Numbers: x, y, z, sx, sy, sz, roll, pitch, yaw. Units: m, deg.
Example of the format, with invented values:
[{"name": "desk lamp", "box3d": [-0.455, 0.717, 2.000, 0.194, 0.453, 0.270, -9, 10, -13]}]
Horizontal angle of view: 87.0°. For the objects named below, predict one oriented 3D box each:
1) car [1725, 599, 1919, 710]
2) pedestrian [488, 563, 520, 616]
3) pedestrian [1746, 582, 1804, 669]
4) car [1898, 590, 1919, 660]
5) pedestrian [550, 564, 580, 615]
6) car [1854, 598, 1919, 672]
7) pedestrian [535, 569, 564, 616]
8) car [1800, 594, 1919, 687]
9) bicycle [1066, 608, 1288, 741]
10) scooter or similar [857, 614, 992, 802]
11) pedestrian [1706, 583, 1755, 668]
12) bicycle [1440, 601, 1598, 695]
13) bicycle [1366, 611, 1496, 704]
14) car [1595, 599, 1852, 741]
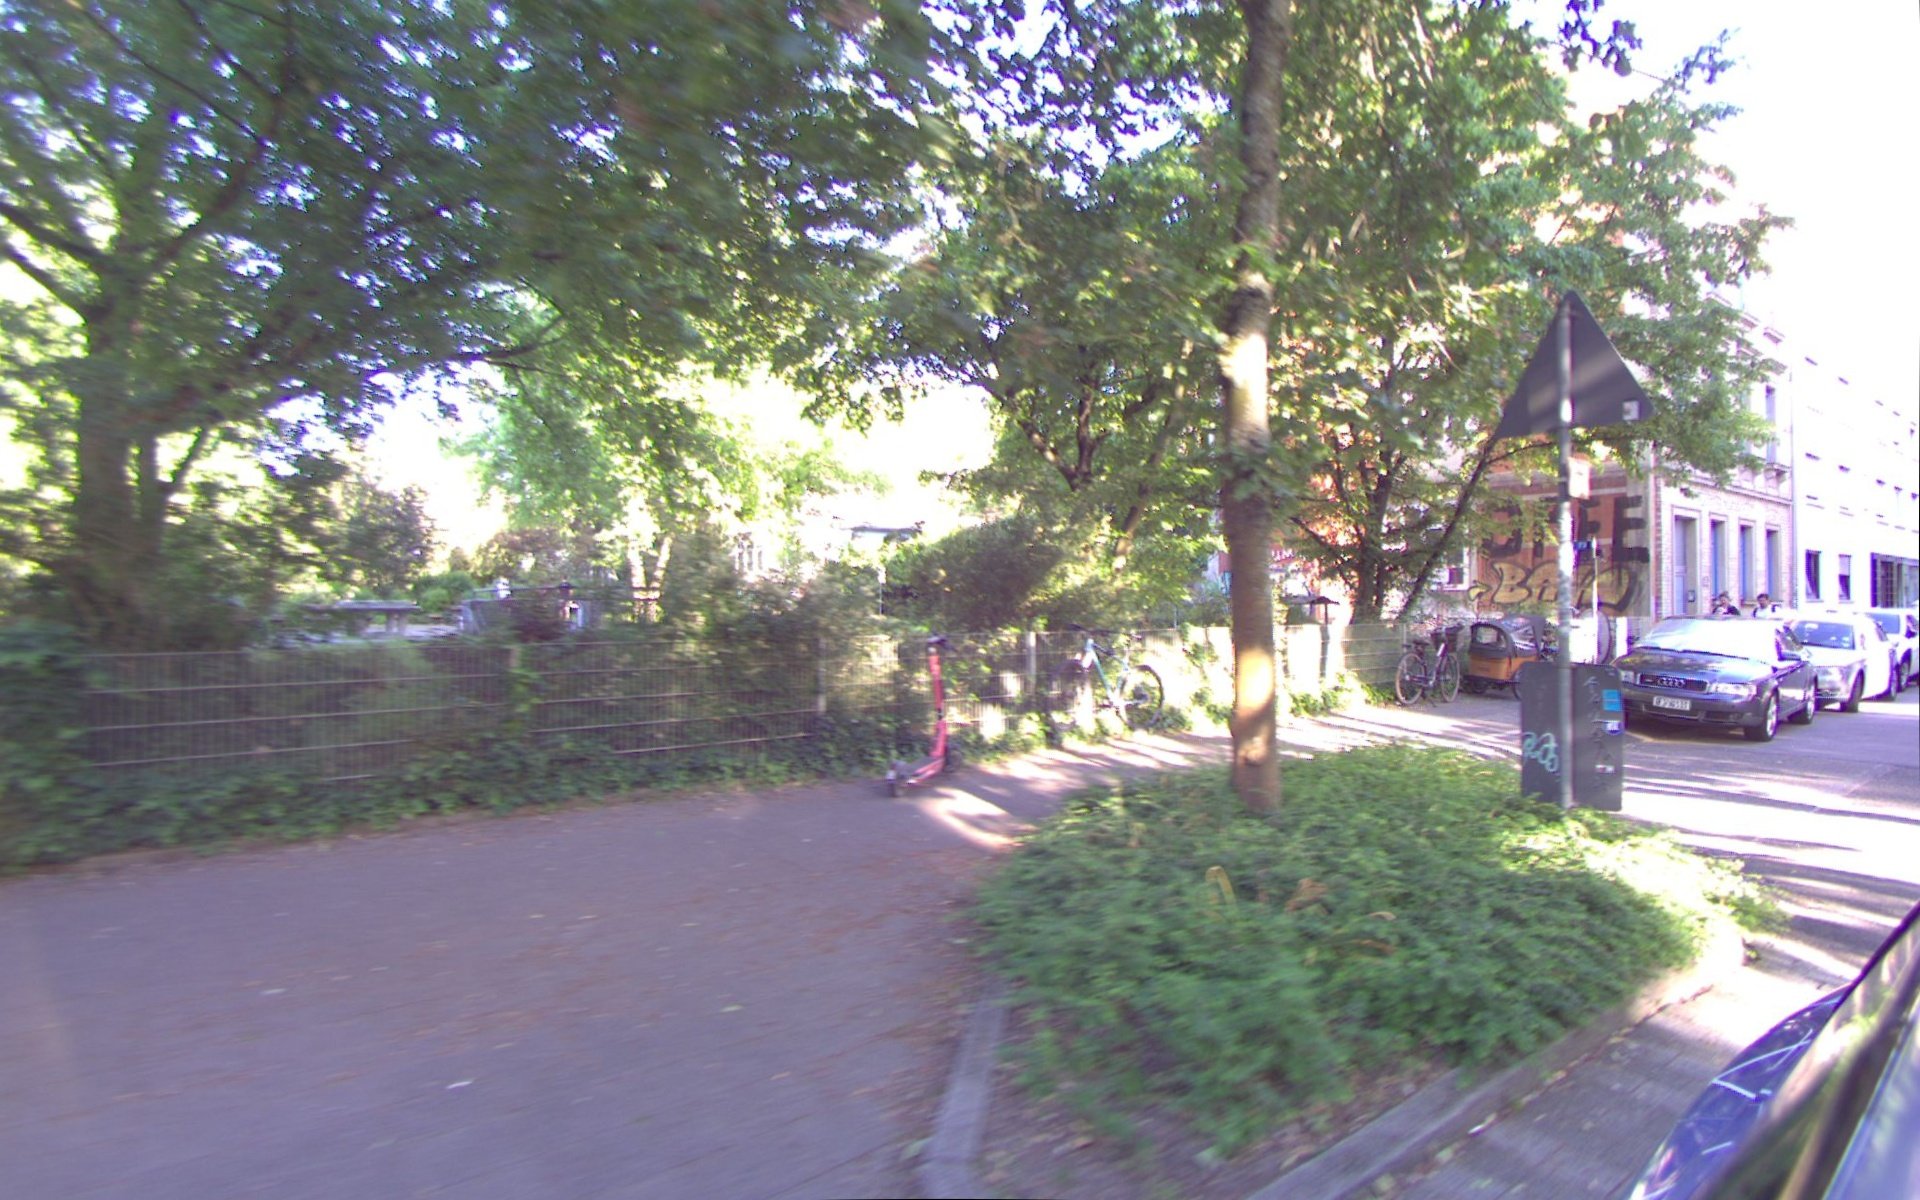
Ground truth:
[{"name": "car", "box3d": [14.130, 0.778, 16.439, 4.274, 1.512, 1.664, 0, 2, -38]}, {"name": "pedestrian", "box3d": [-17.699, -0.423, 39.284, 0.897, 2.039, 0.747, 1, 0, 9]}, {"name": "pedestrian", "box3d": [16.899, 0.517, 20.982, 0.738, 1.729, 0.712, 0, 3, -38]}, {"name": "car", "box3d": [25.020, 0.617, 25.152, 4.247, 1.687, 1.771, 0, 1, -37]}, {"name": "pedestrian", "box3d": [-15.952, -0.434, 40.892, 0.897, 2.039, 0.747, 1, 0, 9]}, {"name": "car", "box3d": [21.171, 0.731, 22.338, 3.932, 1.468, 1.597, 0, 2, -40]}, {"name": "pedestrian", "box3d": [-18.080, -0.345, 44.589, 0.897, 2.039, 0.747, 1, 0, 9]}, {"name": "car", "box3d": [17.883, 0.718, 19.704, 3.695, 1.605, 1.597, 0, 1, -38]}, {"name": "bicycle", "box3d": [2.427, 0.743, 11.094, 2.641, 1.284, 0.849, 0, 0, -37]}, {"name": "scooter or similar", "box3d": [-0.242, 0.782, 8.000, 0.539, 1.277, 1.463, 1, 1, 21]}, {"name": "pedestrian", "box3d": [16.348, 0.526, 21.471, 0.693, 1.729, 0.599, 0, 3, -38]}, {"name": "bicycle", "box3d": [8.799, 0.697, 15.916, 2.282, 1.318, 1.295, 0, 2, -35]}, {"name": "bicycle", "box3d": [6.707, 0.776, 14.378, 1.944, 1.216, 0.849, 1, 0, -37]}, {"name": "car", "box3d": [10.144, 0.783, 13.328, 4.335, 1.512, 1.725, 0, 2, -39]}]
